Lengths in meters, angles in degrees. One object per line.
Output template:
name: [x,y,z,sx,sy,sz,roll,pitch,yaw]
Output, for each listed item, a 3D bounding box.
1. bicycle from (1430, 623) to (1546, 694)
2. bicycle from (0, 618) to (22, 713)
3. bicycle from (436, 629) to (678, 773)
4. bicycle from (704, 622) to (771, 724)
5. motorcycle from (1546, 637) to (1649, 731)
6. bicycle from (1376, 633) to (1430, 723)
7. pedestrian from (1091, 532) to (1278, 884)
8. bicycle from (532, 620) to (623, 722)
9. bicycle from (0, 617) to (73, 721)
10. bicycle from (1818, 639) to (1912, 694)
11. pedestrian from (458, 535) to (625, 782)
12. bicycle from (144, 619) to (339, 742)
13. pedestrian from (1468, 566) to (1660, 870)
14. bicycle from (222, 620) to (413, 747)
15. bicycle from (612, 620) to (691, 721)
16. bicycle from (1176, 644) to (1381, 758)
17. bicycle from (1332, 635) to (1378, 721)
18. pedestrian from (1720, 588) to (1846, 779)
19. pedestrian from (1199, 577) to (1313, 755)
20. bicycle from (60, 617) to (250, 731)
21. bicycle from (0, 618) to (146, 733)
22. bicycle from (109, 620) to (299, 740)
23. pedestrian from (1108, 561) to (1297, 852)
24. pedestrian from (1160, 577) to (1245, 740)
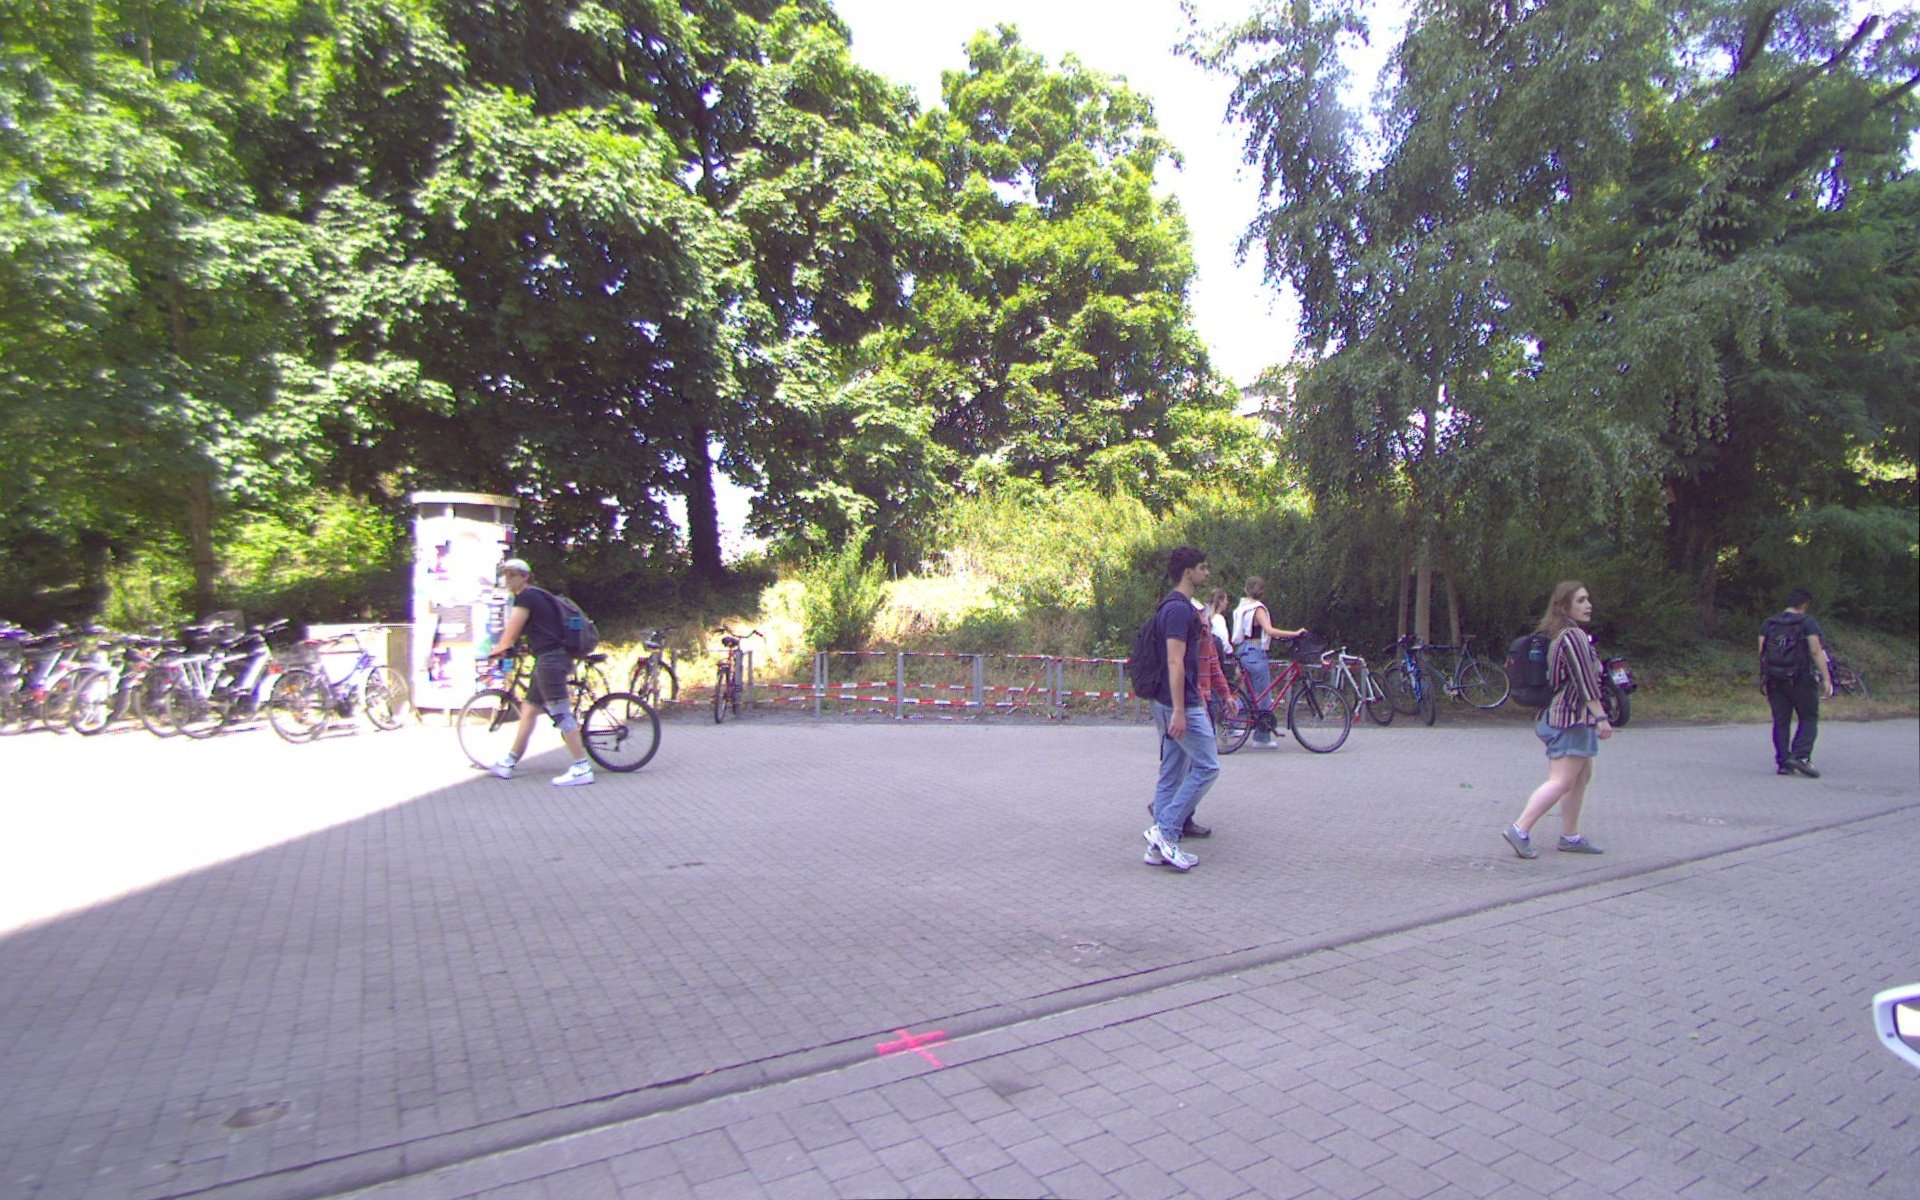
bicycle: [8.428,0.930,16.045,1.669,1.061,0.473,2,1,-10]
bicycle: [-11.728,0.770,11.310,0.507,1.125,1.779,1,0,8]
bicycle: [-3.339,0.828,8.397,1.809,1.125,0.474,1,0,-1]
bicycle: [-2.696,0.857,12.330,0.465,1.125,1.777,1,0,-2]
motorcycle: [8.549,1.091,13.557,0.464,1.061,2.027,1,1,12]
bicycle: [6.018,1.019,13.699,0.465,1.061,1.700,2,1,18]
pedestrian: [1.233,0.577,5.670,0.922,1.860,0.686,0,0,3]
bicycle: [-4.609,0.816,12.204,0.465,1.125,1.777,1,0,-2]
bicycle: [-10.691,0.753,10.853,0.464,1.125,1.779,1,0,8]
bicycle: [16.347,1.207,18.140,1.712,0.922,0.421,2,-1,-16]
pedestrian: [-3.270,0.447,7.911,1.029,1.860,0.614,1,0,0]
bicycle: [-7.345,0.776,10.380,0.464,1.125,1.779,1,0,12]
pedestrian: [3.714,0.684,6.210,0.719,1.747,0.684,1,1,-17]
bicycle: [-6.325,0.770,10.003,0.464,1.125,1.779,1,0,12]
bicycle: [-3.750,0.822,12.329,0.465,1.125,1.777,1,0,-2]
bicycle: [3.160,1.001,10.019,1.872,1.061,0.541,1,1,-5]
bicycle: [5.408,1.034,13.792,0.465,1.061,1.700,1,0,18]
pedestrian: [7.963,0.767,9.726,0.894,1.747,0.680,1,1,-33]
pedestrian: [2.992,0.650,10.221,0.920,1.747,0.677,0,0,-5]
bicycle: [-8.721,0.759,10.979,0.464,1.125,1.779,1,0,8]
bicycle: [-9.677,0.765,10.652,0.464,1.125,1.779,1,0,8]
bicycle: [-7.864,0.787,10.557,0.464,1.125,1.779,1,0,8]
pedestrian: [1.516,0.649,6.425,1.043,1.747,0.719,0,0,1]
pedestrian: [2.678,0.633,11.165,0.718,1.747,0.685,0,0,-7]
